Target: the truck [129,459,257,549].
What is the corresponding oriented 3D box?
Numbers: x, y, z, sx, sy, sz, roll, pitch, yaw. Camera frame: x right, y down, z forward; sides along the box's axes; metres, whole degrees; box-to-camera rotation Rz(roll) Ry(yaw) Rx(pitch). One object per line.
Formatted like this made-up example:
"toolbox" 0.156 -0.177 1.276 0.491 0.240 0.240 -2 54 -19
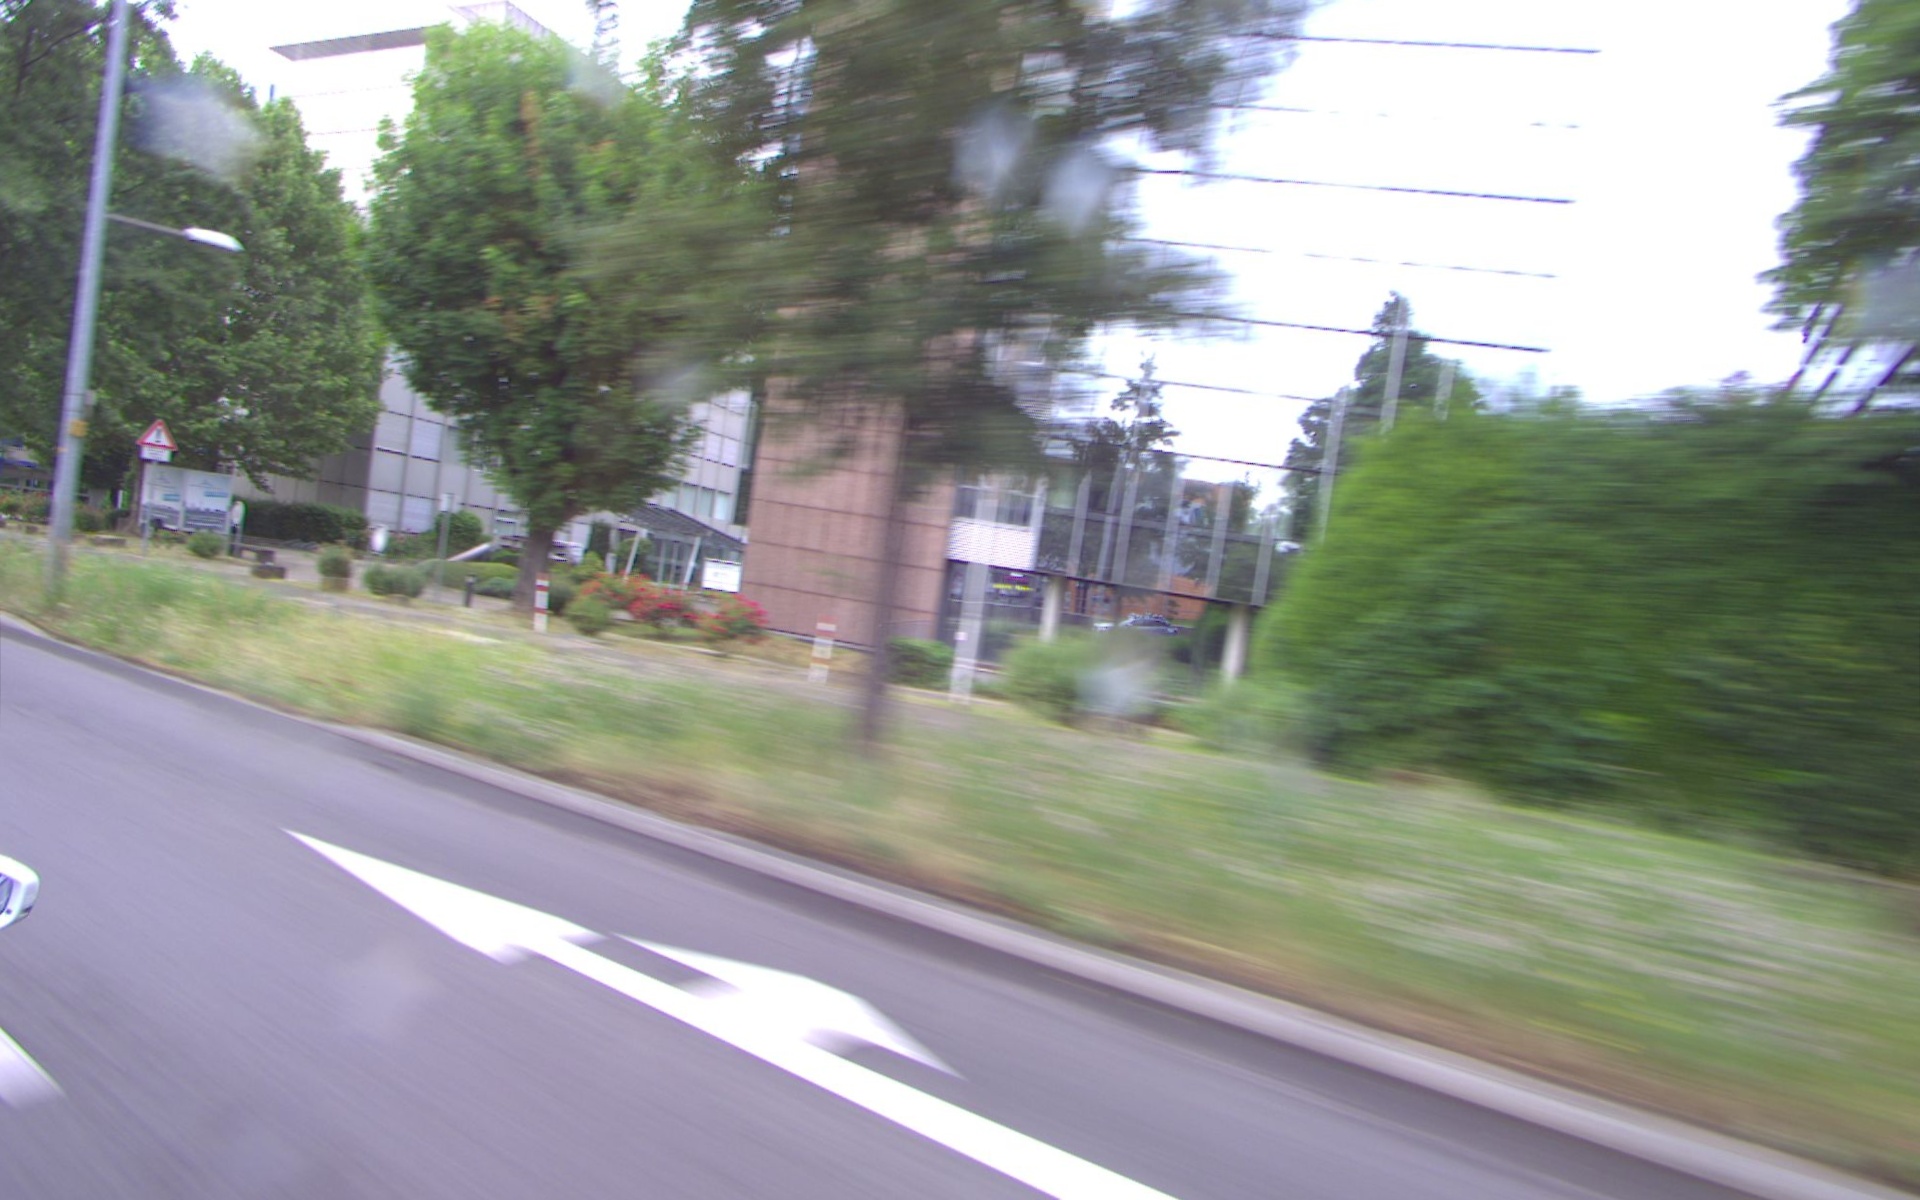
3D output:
"truck" -26.003 -3.247 34.101 3.931 2.547 1.751 6 -2 28
